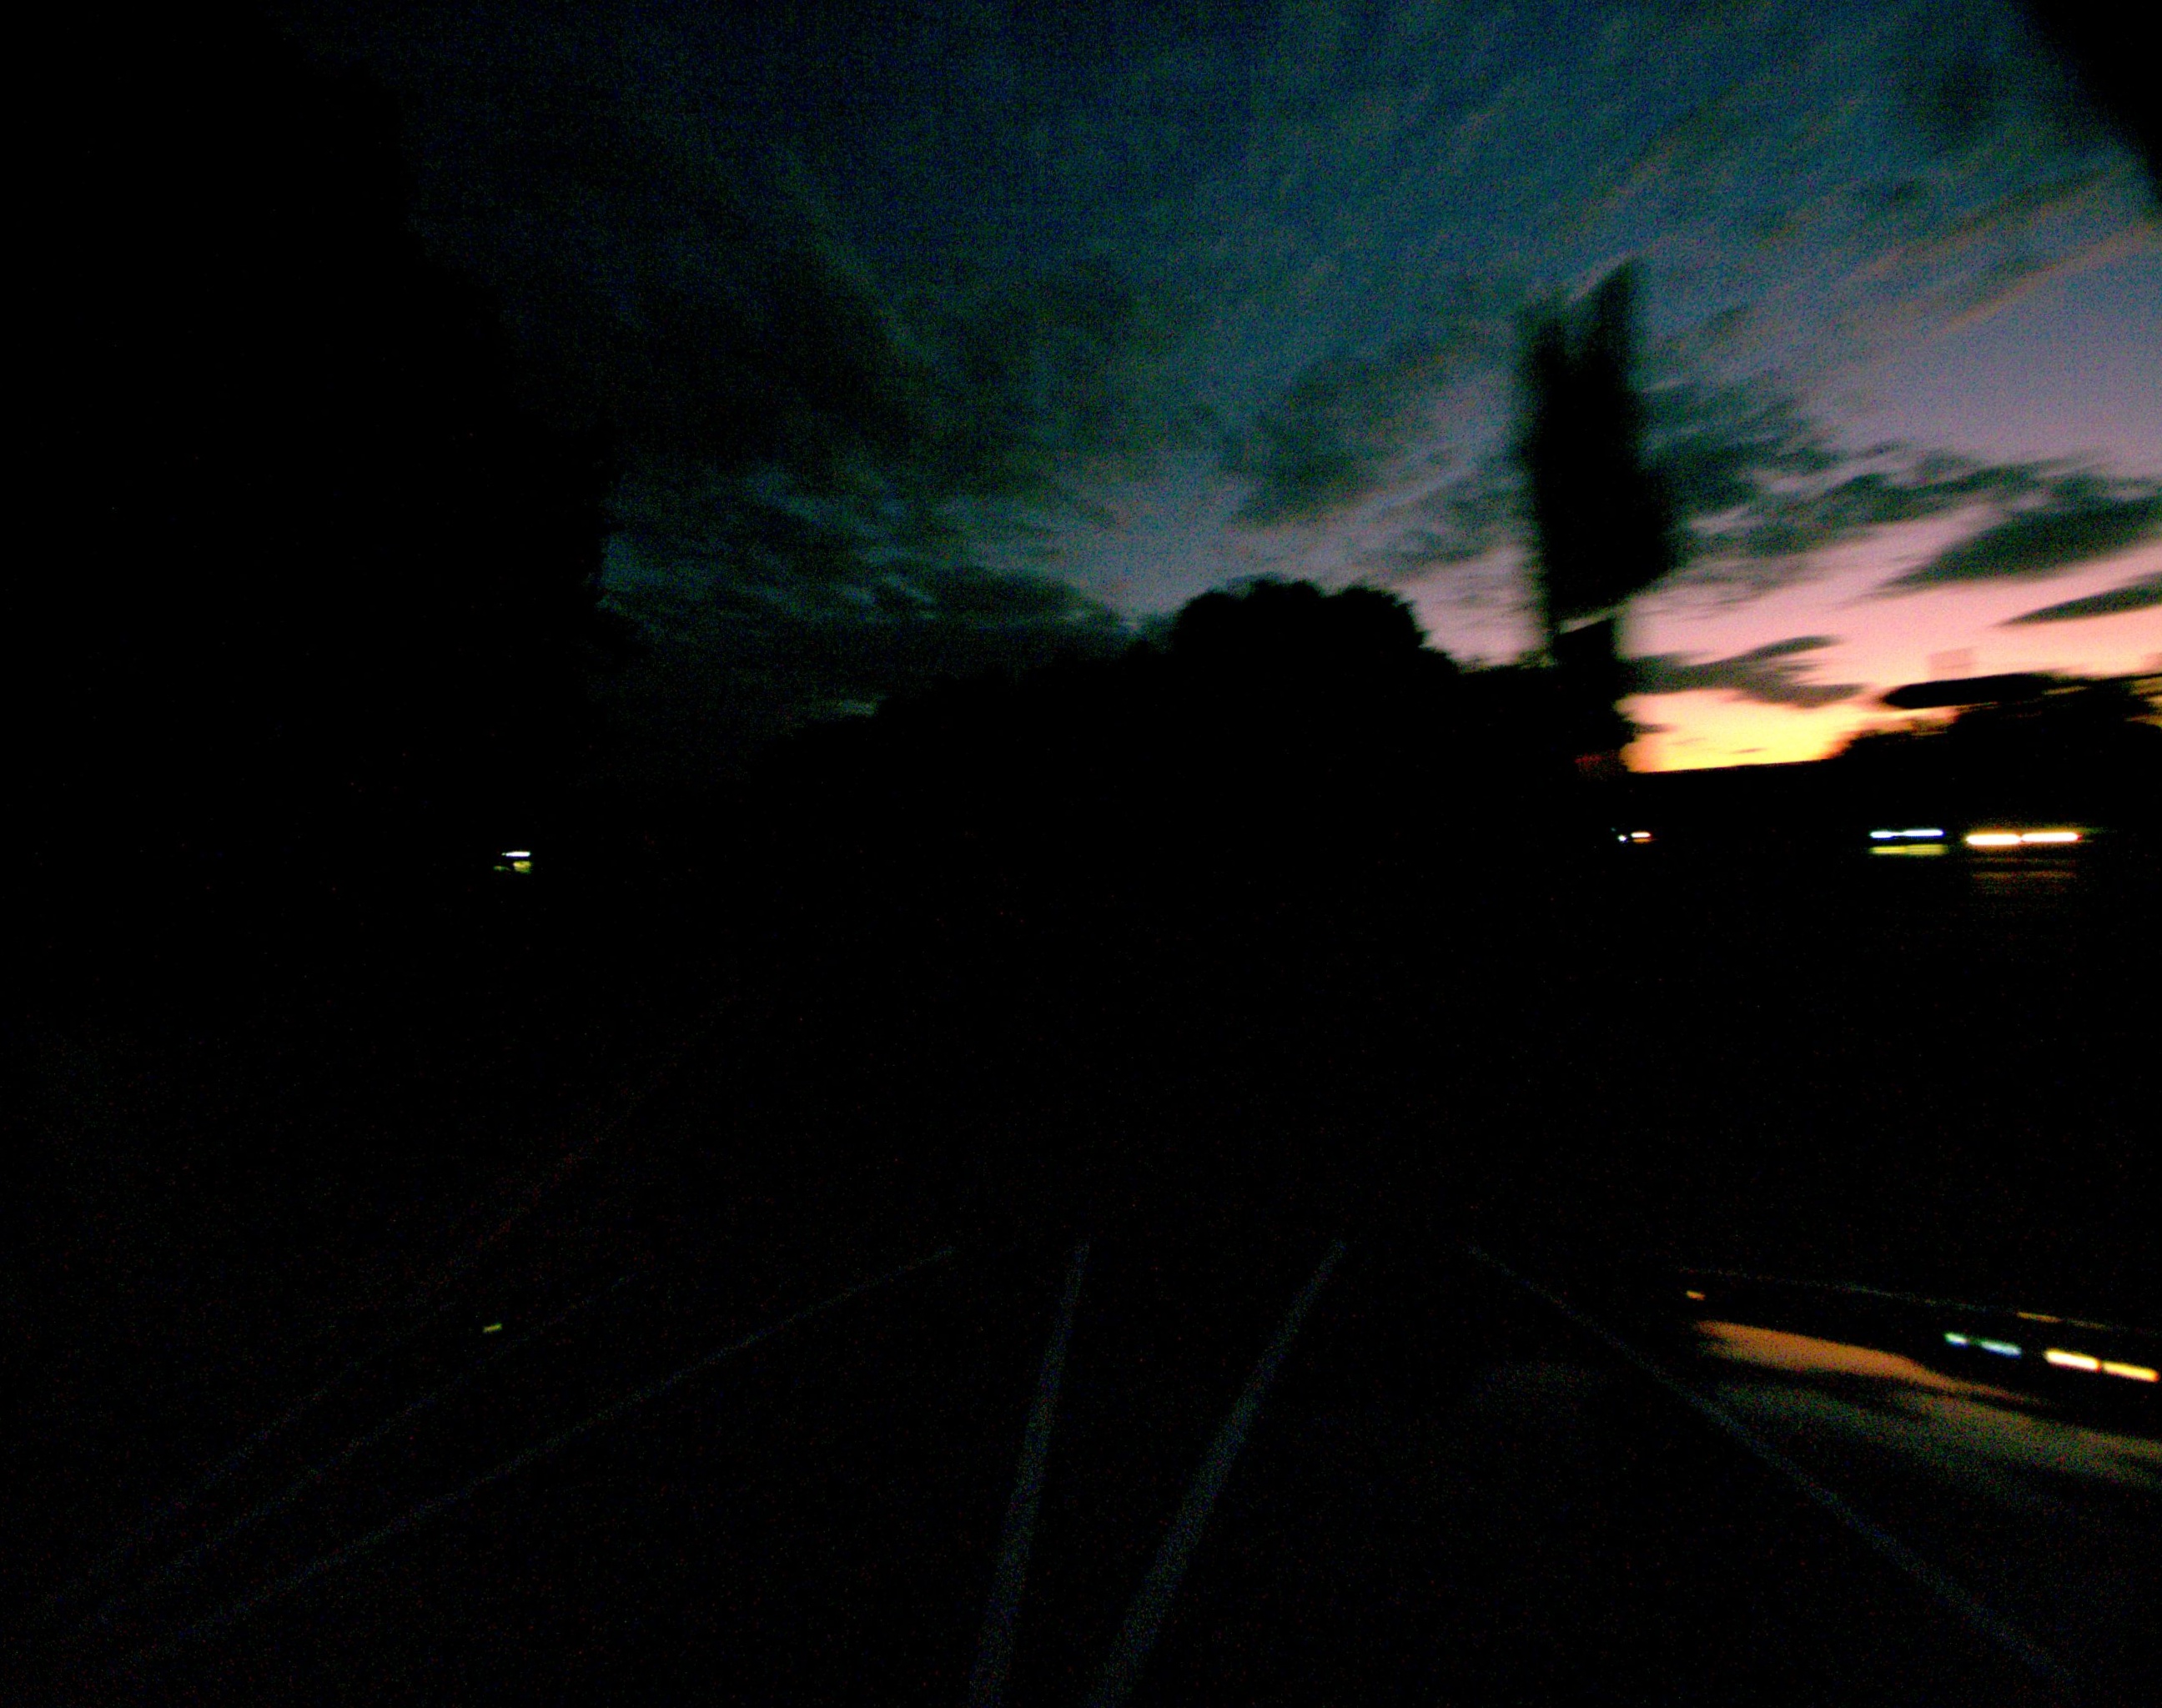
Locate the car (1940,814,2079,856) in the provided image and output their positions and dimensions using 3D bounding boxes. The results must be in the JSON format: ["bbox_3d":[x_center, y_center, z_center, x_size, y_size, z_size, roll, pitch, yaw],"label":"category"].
[{"bbox_3d":[34.302,-0.703,28.240,1.994,1.445,4.007,0,1,31],"label":"car"}]

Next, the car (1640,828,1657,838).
[{"bbox_3d":[94.026,-3.476,125.787,2.054,1.587,4.008,-2,1,39],"label":"car"}]

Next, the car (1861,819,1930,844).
[{"bbox_3d":[51.891,-1.459,48.531,1.995,1.444,4.743,-2,1,34],"label":"car"}]
